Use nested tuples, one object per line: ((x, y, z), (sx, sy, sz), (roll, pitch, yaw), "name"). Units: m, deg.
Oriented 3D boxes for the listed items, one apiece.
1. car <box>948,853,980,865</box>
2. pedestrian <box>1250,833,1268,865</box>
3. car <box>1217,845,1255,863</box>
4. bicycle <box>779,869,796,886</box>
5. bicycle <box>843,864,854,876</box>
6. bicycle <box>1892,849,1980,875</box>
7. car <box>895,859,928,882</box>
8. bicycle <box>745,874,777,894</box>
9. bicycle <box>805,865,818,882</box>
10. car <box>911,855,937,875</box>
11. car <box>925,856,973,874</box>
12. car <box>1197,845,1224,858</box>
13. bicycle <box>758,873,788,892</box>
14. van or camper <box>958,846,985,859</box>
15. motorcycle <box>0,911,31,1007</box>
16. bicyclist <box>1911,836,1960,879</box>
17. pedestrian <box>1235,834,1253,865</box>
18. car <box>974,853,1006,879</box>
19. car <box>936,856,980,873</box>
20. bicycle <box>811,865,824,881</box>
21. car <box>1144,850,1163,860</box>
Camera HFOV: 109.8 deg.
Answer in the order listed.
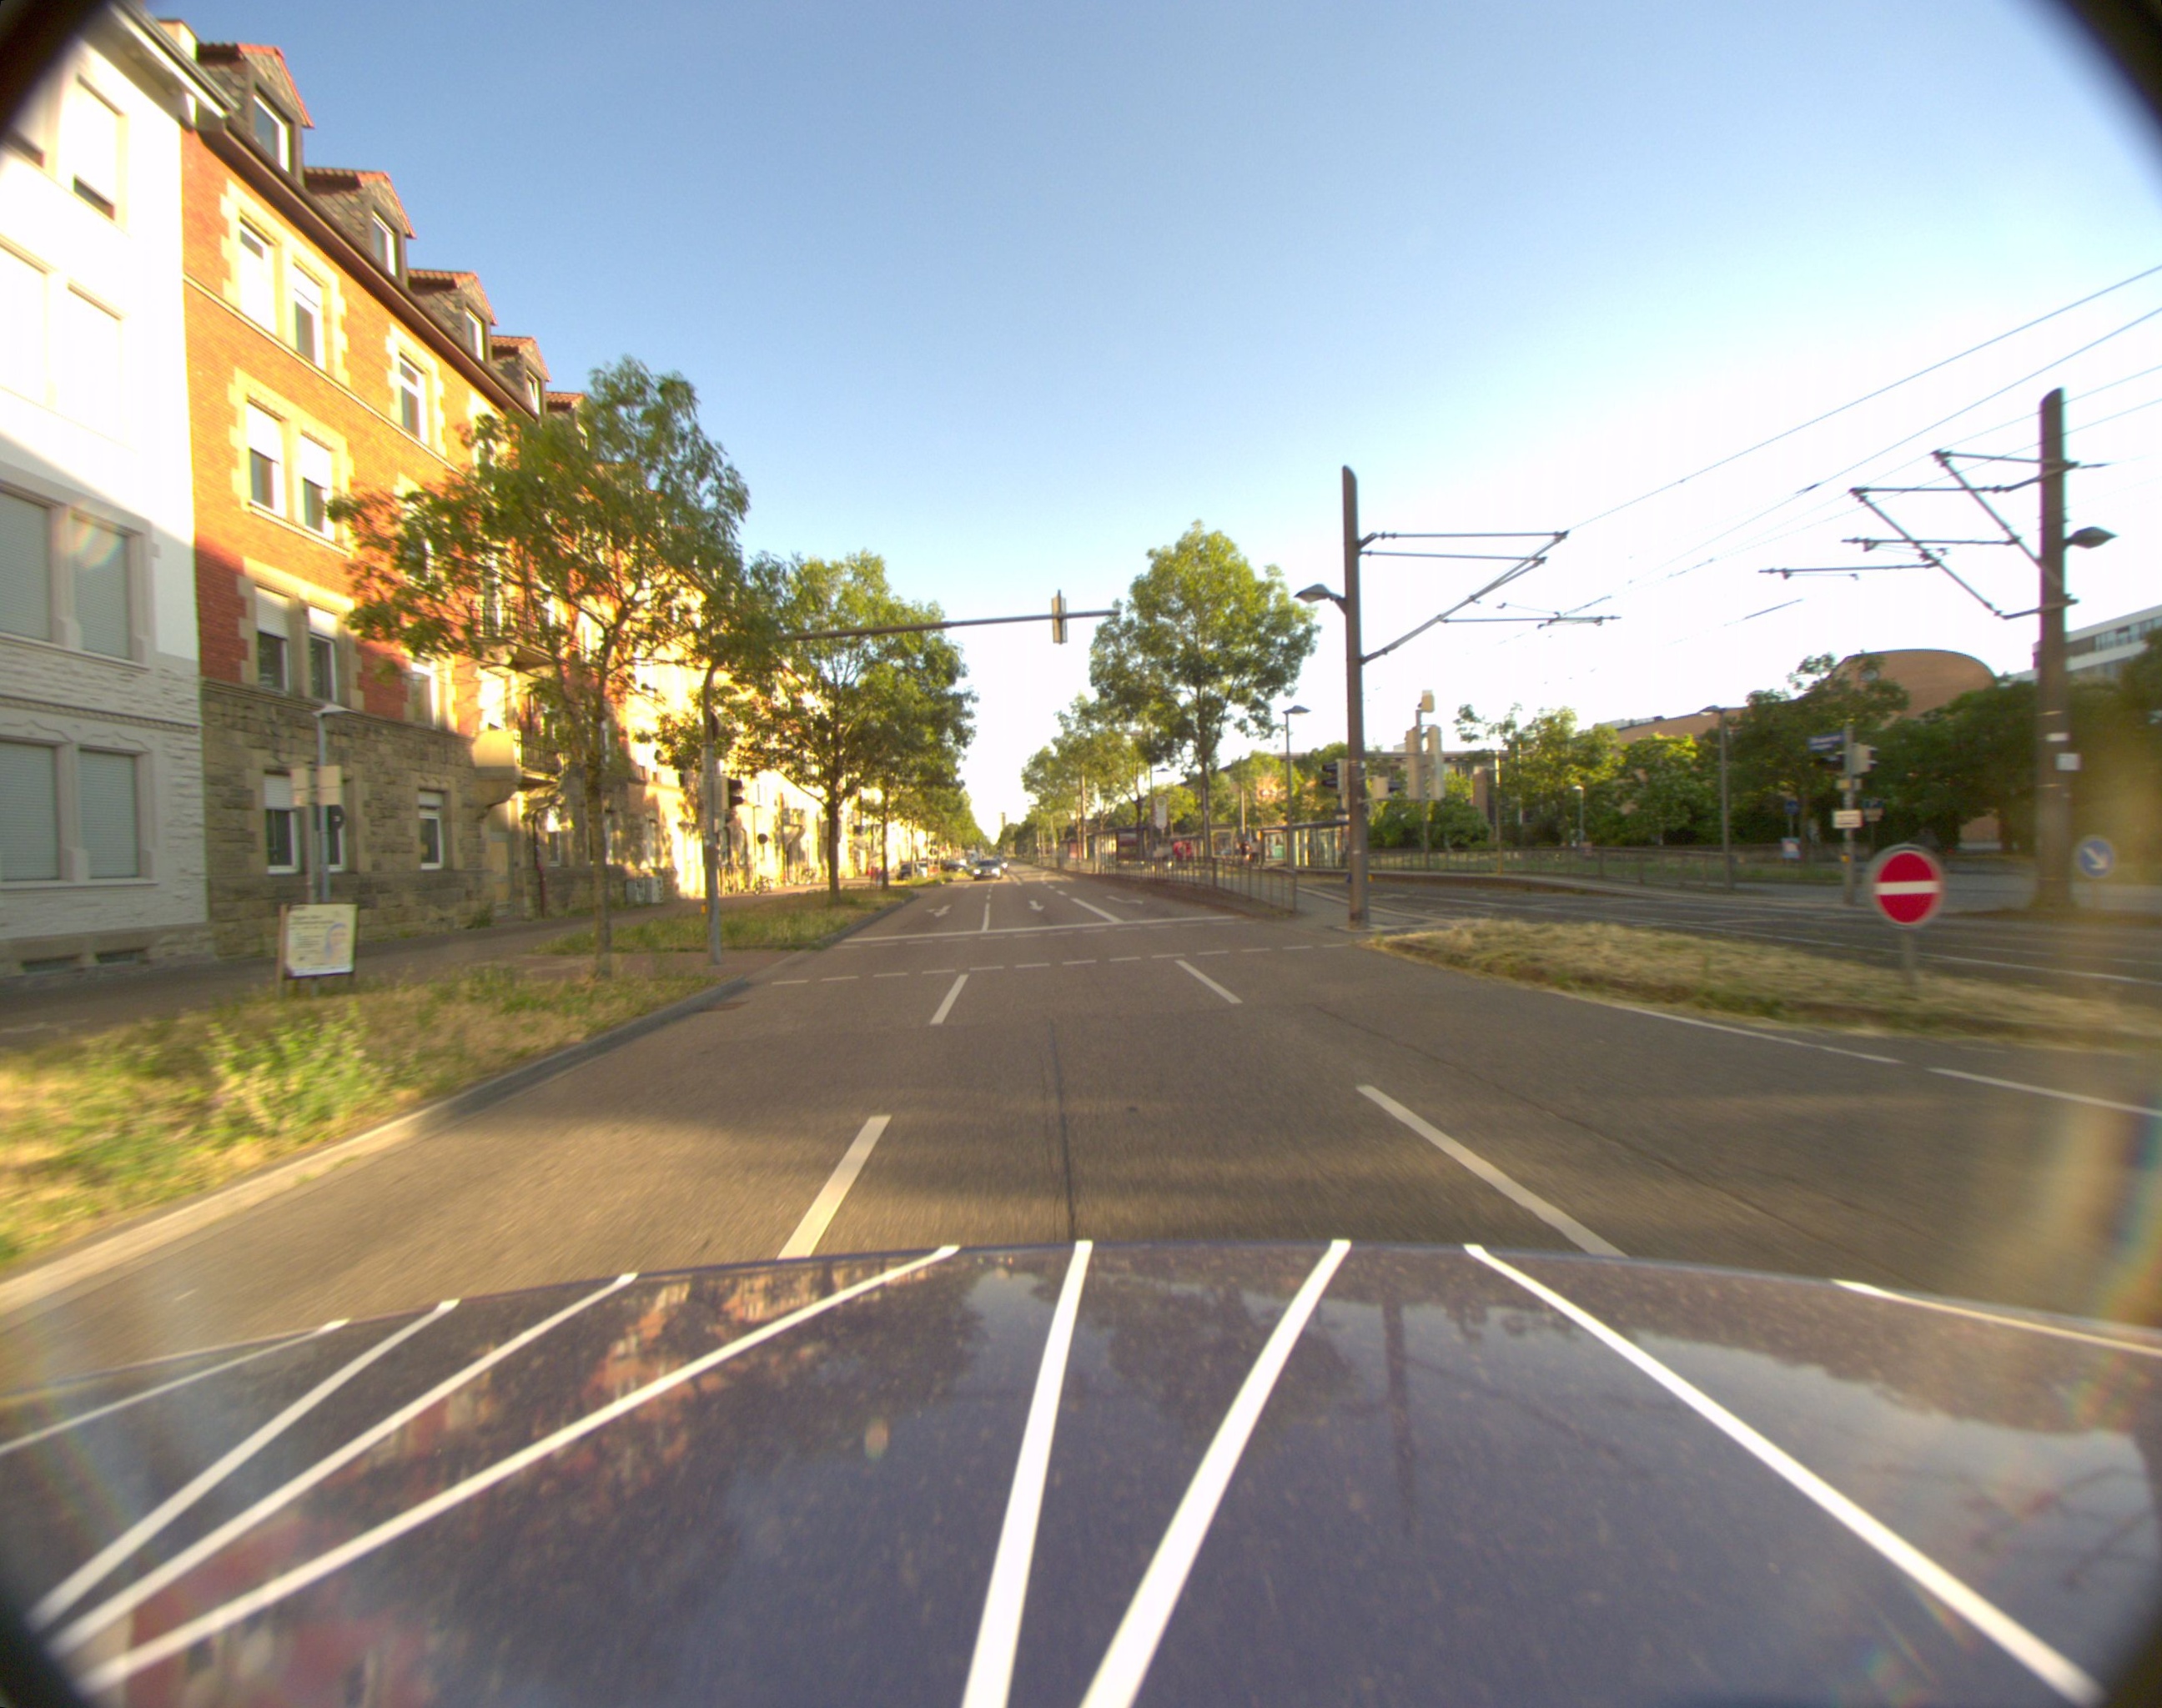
((-17.646, 0.790, 114.681), (4.421, 1.681, 1.919), (-2, 0, 29), "car")
((11.495, -0.324, 49.079), (0.772, 2.002, 1.126), (-2, 1, -4), "pedestrian")
((13.820, 0.001, 68.032), (1.999, 1.543, 4.891), (-2, 0, -5), "car")
((-18.867, 1.500, 48.863), (0.485, 0.999, 1.745), (-2, 0, -6), "bicycle")
((-21.312, 1.477, 69.751), (0.574, 1.067, 1.895), (-1, 0, -6), "bicycle")
((29.585, 0.263, 26.341), (0.776, 0.816, 1.965), (-2, 0, -4), "bicycle")
((-12.265, 1.145, 55.243), (1.709, 1.440, 4.286), (-5, 1, -6), "car")
((-16.053, 1.496, 38.143), (0.874, 0.910, 2.083), (0, 0, -5), "bicycle")
((-19.648, 1.410, 55.432), (0.485, 1.158, 1.745), (3, 0, -6), "bicycle")
((-13.314, 0.909, 64.641), (1.731, 1.503, 4.269), (-5, 1, -7), "car")
((-13.479, 1.109, 77.567), (4.331, 1.562, 2.005), (-4, 0, 26), "car")
((14.050, -0.267, 82.795), (1.614, 1.405, 4.431), (-2, 1, -7), "car")
((-16.464, 1.500, 40.669), (0.735, 0.942, 2.338), (0, 0, -3), "bicycle")
((-24.974, -0.278, 172.877), (5.637, 2.796, 2.208), (-2, 1, 25), "van or camper")
((-14.086, 1.384, 8.989), (0.555, 1.207, 2.071), (-3, 1, -8), "motorcycle")
((29.589, 0.120, 26.314), (0.770, 1.459, 0.827), (-2, 1, -4), "bicyclist")
((10.661, -0.274, 49.724), (0.772, 2.002, 1.126), (-2, 1, -4), "pedestrian")
((-6.347, 0.791, 53.463), (1.999, 1.655, 3.998), (-2, 1, -4), "car")
((-12.977, 1.106, 80.045), (4.277, 1.513, 1.850), (-2, 1, 26), "car")
((-19.848, 1.449, 57.324), (0.485, 1.158, 1.745), (3, 0, -6), "bicycle")
((9.686, 0.150, 101.278), (1.698, 1.290, 3.997), (-2, 0, -6), "car")
